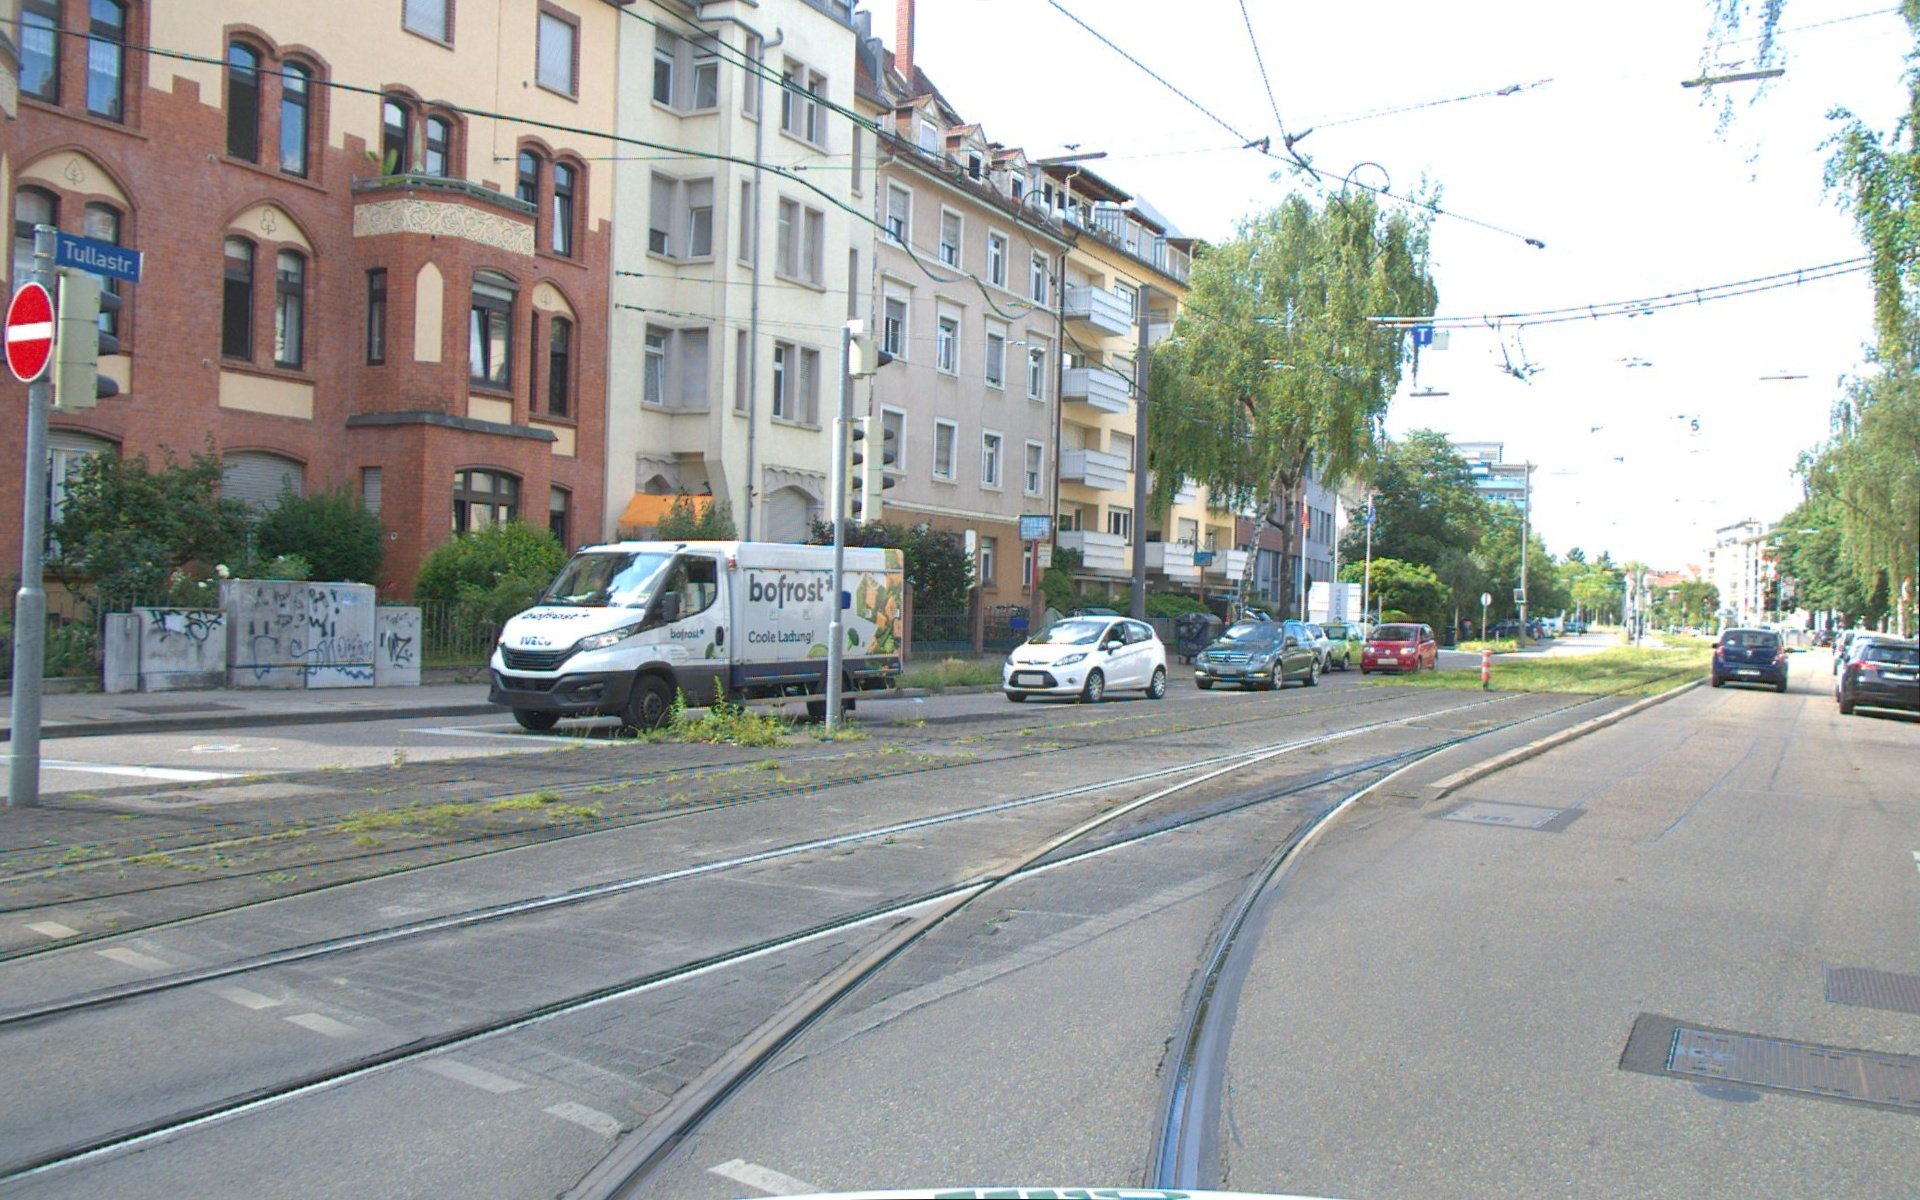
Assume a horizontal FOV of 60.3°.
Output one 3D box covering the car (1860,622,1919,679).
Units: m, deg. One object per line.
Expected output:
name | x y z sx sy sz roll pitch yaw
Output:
car | 26.584 1.419 46.833 1.865 1.410 3.807 4 2 29

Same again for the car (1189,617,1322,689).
car | 6.444 1.105 35.716 2.182 1.395 3.981 1 0 20

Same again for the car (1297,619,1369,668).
car | 11.585 1.323 51.246 1.531 1.410 3.185 1 0 25

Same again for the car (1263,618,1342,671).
car | 9.889 1.251 47.653 1.531 1.410 3.185 1 0 25

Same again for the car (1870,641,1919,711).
car | 22.264 1.764 38.450 1.865 1.410 3.807 4 2 29

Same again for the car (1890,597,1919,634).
car | 50.996 0.834 88.678 1.865 1.828 3.807 4 2 29

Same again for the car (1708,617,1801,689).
car | 20.186 1.293 41.950 1.865 1.602 3.807 4 2 29

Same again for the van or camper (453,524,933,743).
van or camper | -3.022 0.379 20.706 2.200 2.293 6.529 1 0 31

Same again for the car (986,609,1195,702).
car | 2.349 0.936 28.901 1.896 1.464 4.006 1 0 34

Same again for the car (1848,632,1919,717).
car | 18.478 1.436 32.330 1.865 1.410 3.807 4 2 29

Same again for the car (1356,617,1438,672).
car | 12.593 1.249 47.529 1.677 1.467 3.351 1 0 25
